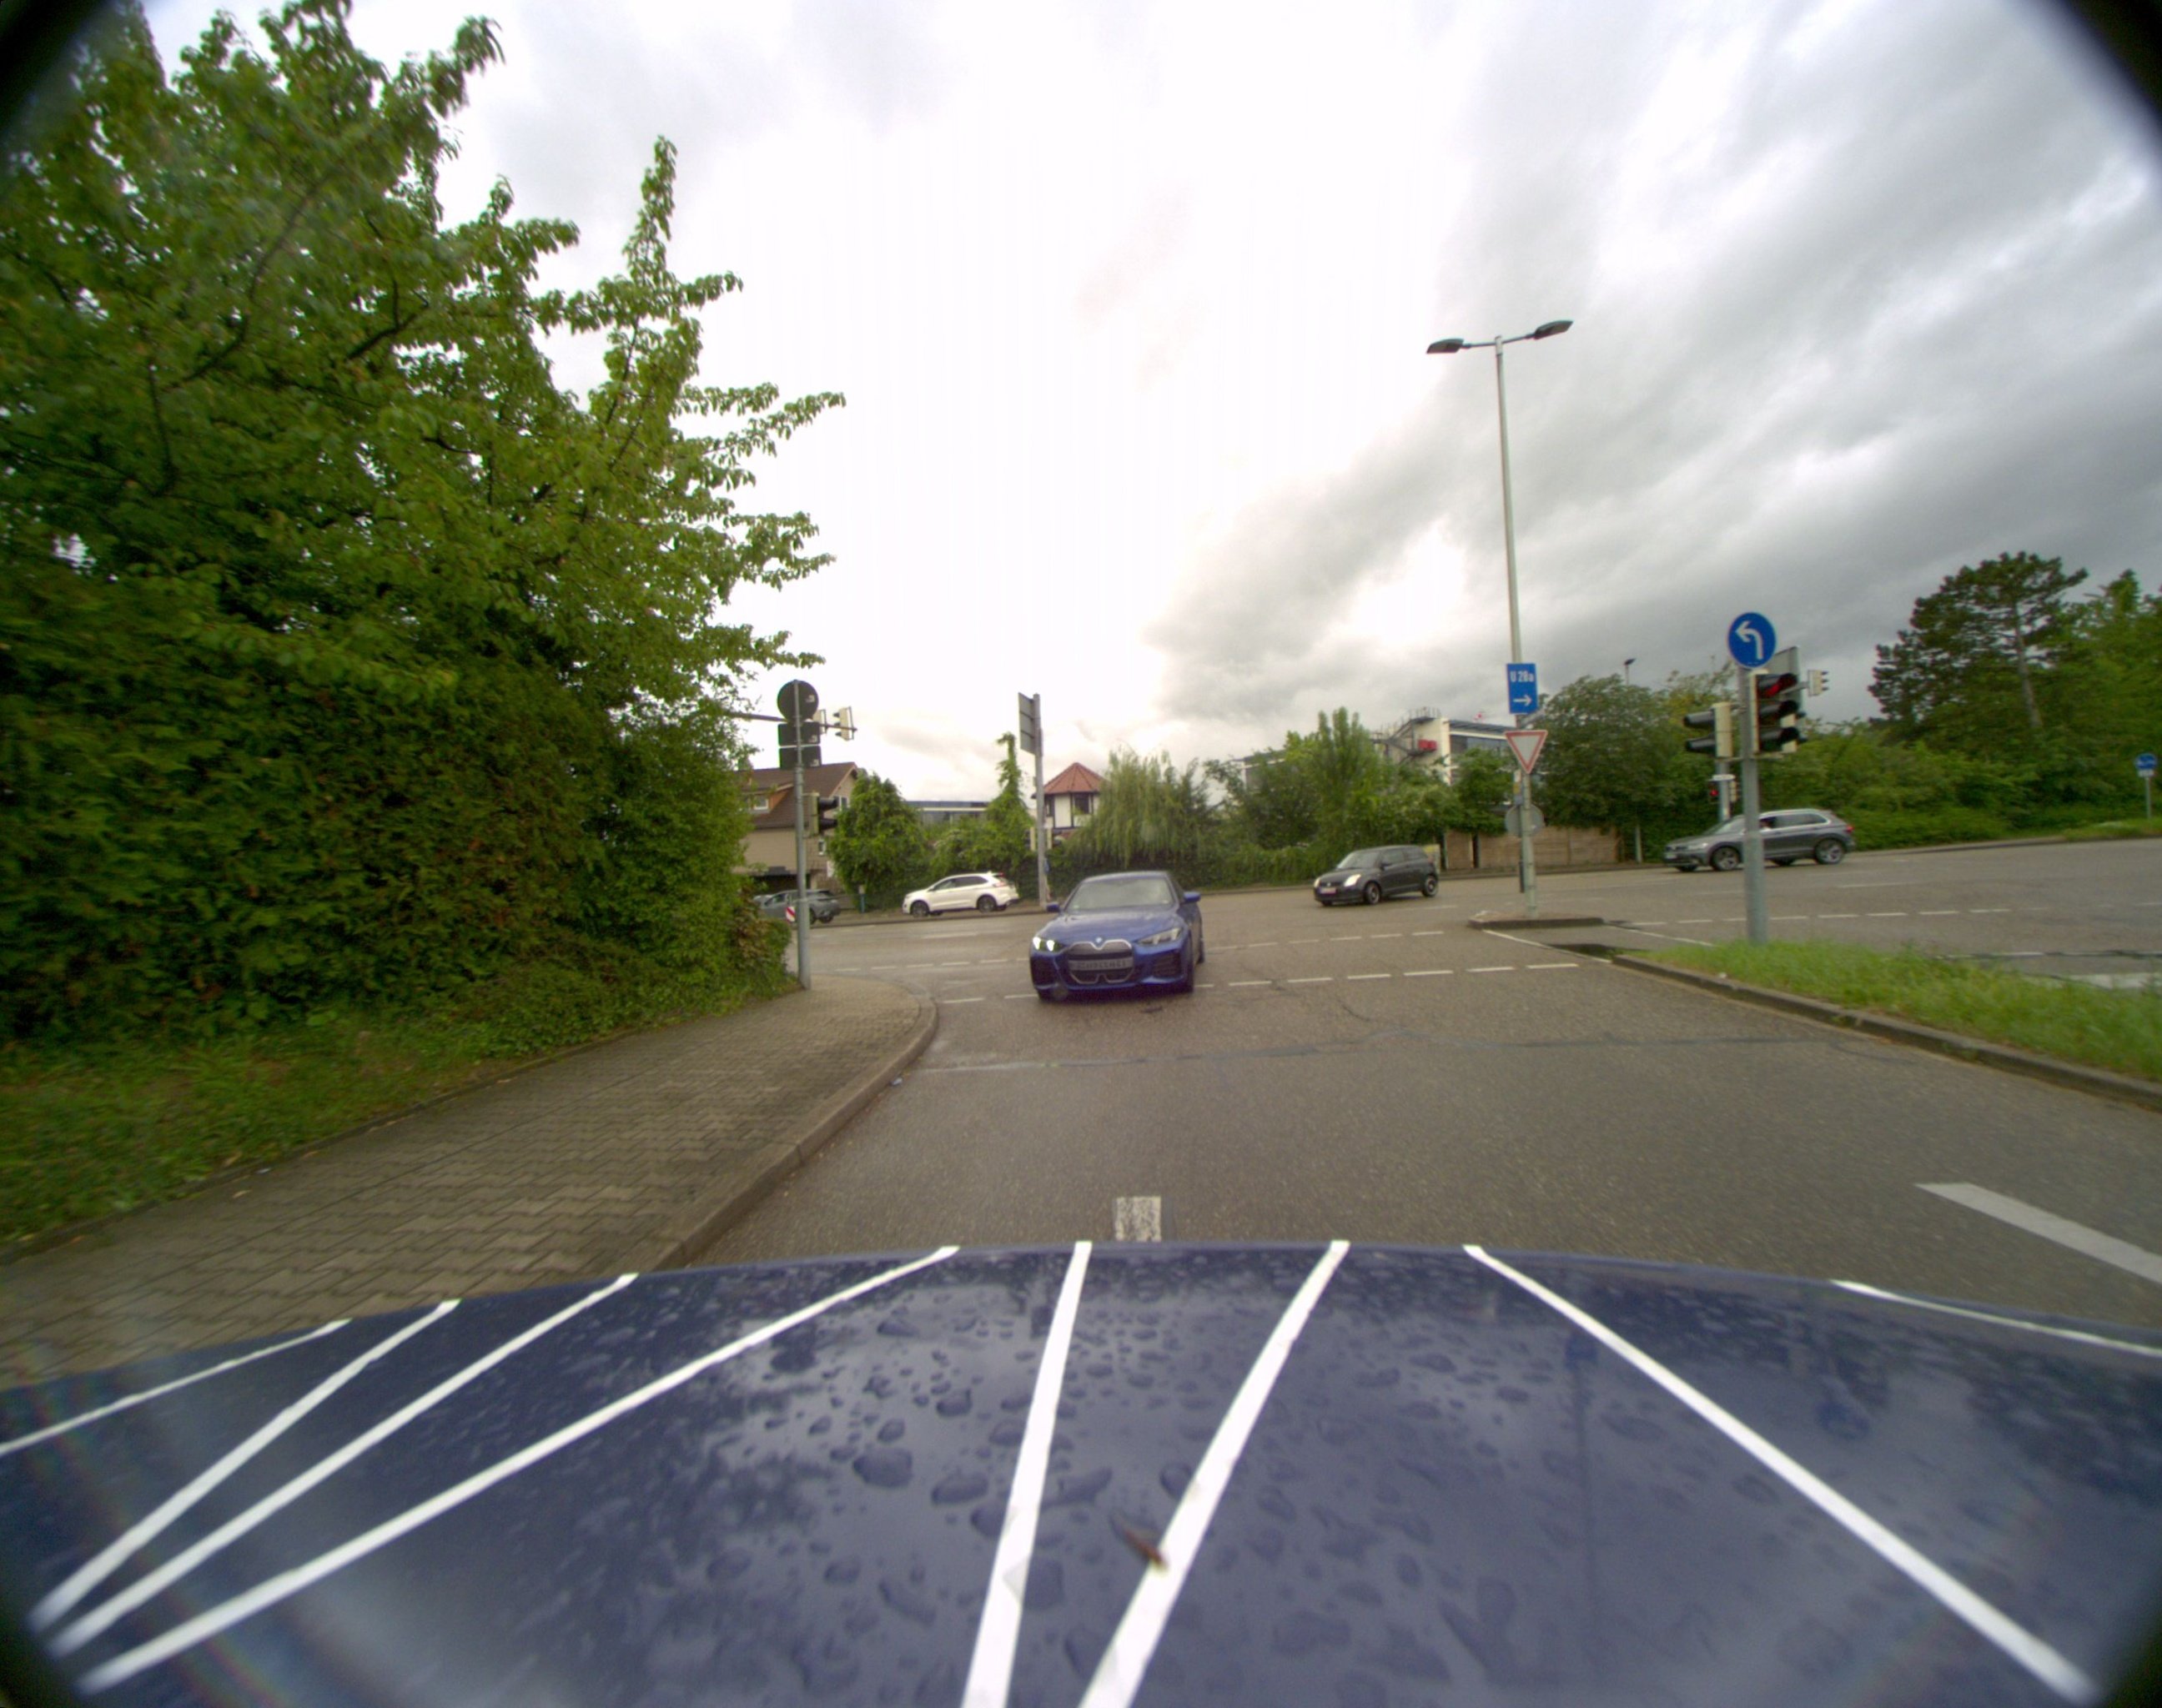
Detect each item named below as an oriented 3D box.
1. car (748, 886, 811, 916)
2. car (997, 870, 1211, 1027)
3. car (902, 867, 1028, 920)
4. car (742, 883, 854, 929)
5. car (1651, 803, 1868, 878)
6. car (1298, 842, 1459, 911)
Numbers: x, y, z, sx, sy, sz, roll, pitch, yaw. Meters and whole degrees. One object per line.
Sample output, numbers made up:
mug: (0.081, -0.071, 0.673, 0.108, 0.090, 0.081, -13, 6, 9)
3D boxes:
car: (-17.934, 2.763, 45.358, 1.768, 1.446, 3.575, -3, 1, 11)
car: (0.573, 1.052, 10.036, 1.911, 1.487, 4.353, -4, -1, 13)
car: (-4.774, 1.625, 31.608, 4.671, 1.779, 2.002, -5, -1, 9)
car: (-12.954, 2.369, 34.954, 4.329, 1.630, 1.908, -5, -1, 7)
car: (19.923, -0.371, 22.514, 4.301, 1.739, 1.970, -5, -1, 10)
car: (8.210, 0.597, 20.929, 4.004, 1.510, 1.744, -4, -1, -25)
